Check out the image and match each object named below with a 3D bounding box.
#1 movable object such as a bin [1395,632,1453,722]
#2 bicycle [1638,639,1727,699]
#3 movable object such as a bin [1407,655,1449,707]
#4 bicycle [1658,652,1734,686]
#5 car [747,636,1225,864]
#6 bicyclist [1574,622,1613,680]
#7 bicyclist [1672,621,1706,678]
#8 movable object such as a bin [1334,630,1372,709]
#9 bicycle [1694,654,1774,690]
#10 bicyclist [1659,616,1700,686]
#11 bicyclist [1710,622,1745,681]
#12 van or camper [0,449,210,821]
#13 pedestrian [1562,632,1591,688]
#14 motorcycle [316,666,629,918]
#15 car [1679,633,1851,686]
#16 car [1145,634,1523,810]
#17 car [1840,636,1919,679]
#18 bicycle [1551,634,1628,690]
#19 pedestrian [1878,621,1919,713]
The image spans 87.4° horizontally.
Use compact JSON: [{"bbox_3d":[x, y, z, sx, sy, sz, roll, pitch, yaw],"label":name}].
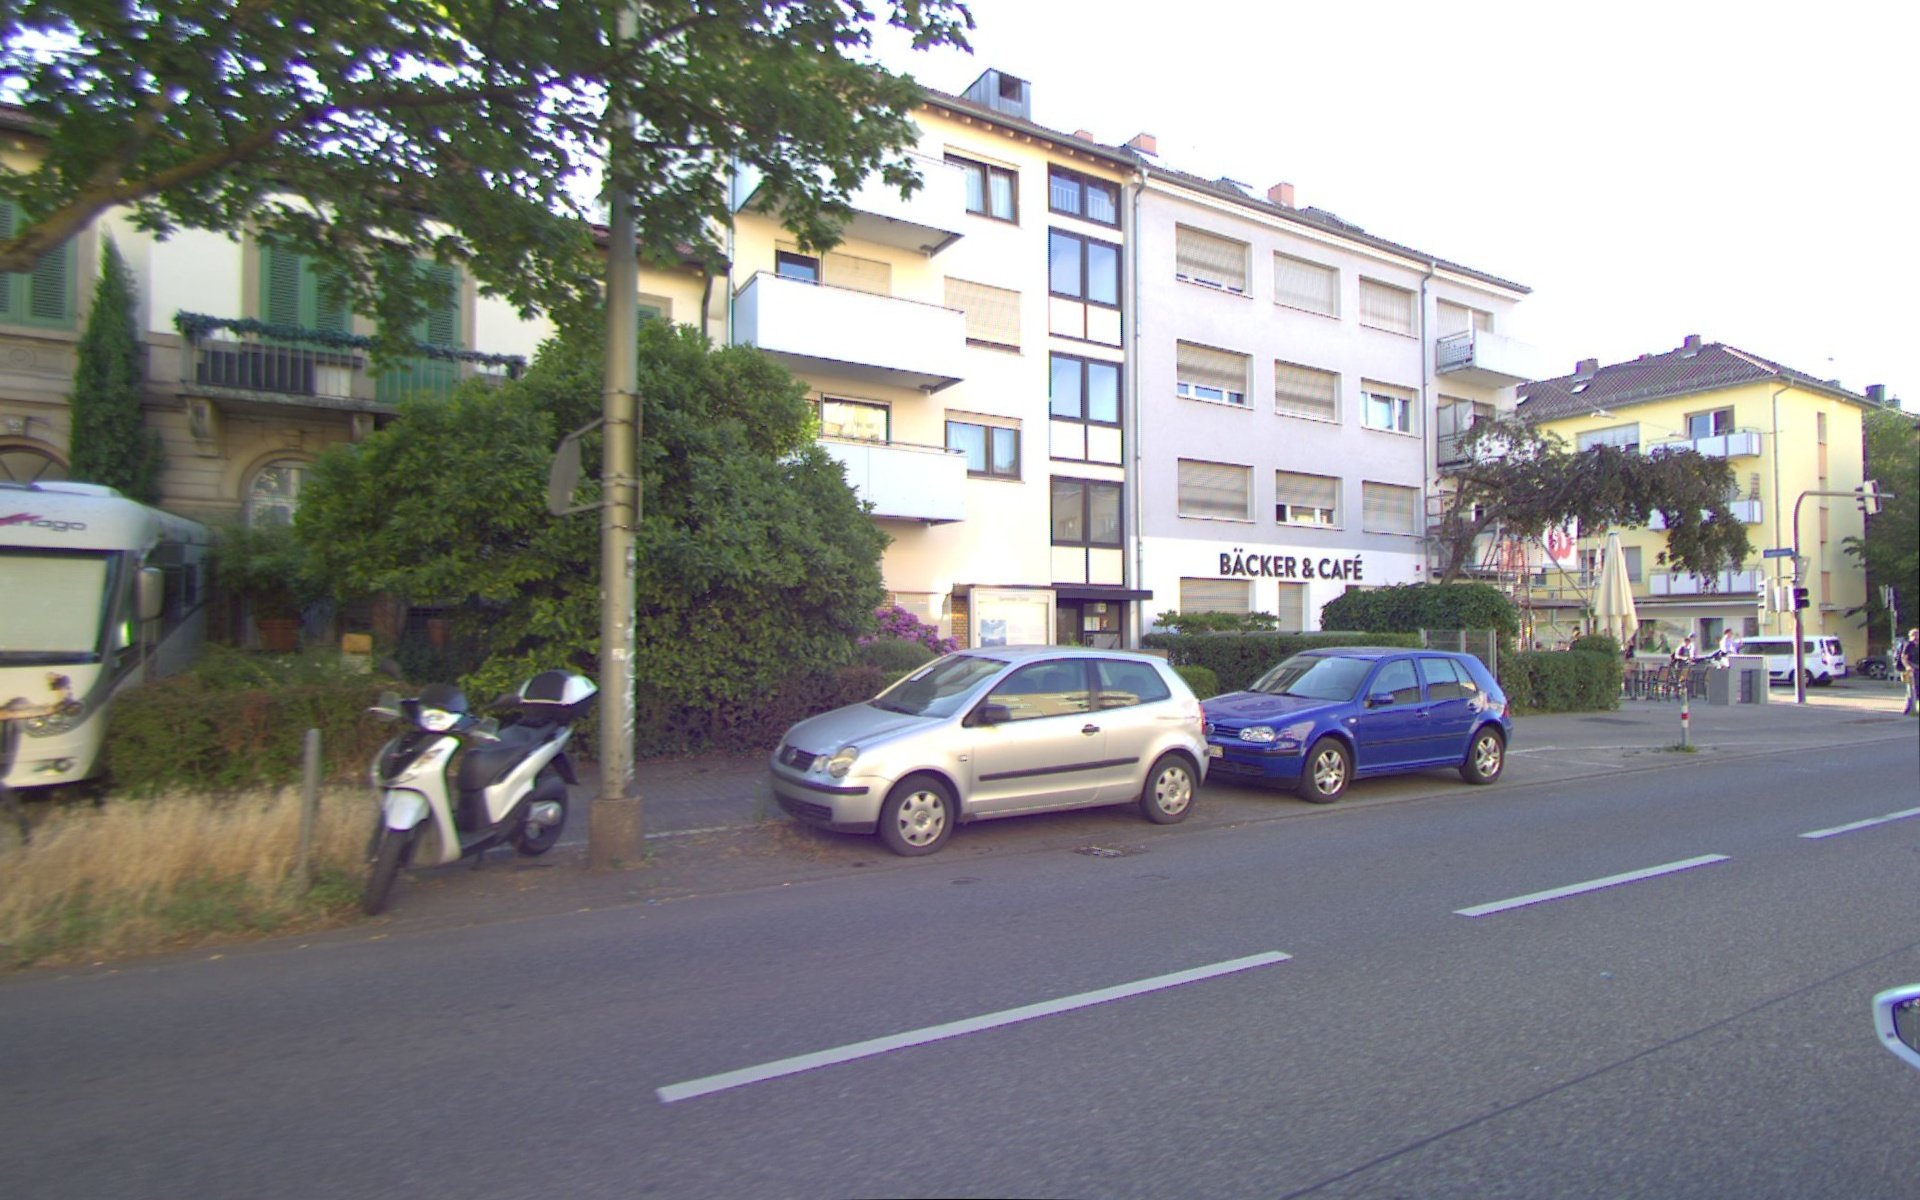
[{"bbox_3d":[8.110,1.338,17.574,0.732,1.532,0.590,1,-2,-29],"label":"movable object such as a bin"},{"bbox_3d":[21.473,2.018,29.887,0.749,1.728,2.011,1,-3,-32],"label":"bicycle"},{"bbox_3d":[9.117,1.577,19.585,0.434,0.980,0.601,1,-2,-30],"label":"movable object such as a bin"},{"bbox_3d":[24.289,2.263,33.182,0.713,1.085,1.885,2,-3,-39],"label":"bicycle"},{"bbox_3d":[0.284,1.083,8.455,3.759,1.490,1.586,1,0,-31],"label":"car"},{"bbox_3d":[20.040,1.605,31.778,0.702,1.823,0.782,1,-2,-32],"label":"bicyclist"},{"bbox_3d":[24.188,1.643,33.329,0.648,1.847,0.733,2,-3,-39],"label":"bicyclist"},{"bbox_3d":[7.320,1.285,18.707,0.569,1.446,0.390,1,-2,-32],"label":"movable object such as a bin"},{"bbox_3d":[24.454,2.254,31.748,0.713,1.085,1.885,2,-3,-39],"label":"bicycle"},{"bbox_3d":[21.473,1.520,29.995,0.835,2.040,0.721,1,-2,-33],"label":"bicyclist"},{"bbox_3d":[24.349,1.629,31.866,0.648,1.847,0.733,2,-3,-39],"label":"bicyclist"},{"bbox_3d":[-9.513,0.229,10.167,2.325,2.809,6.762,1,0,-31],"label":"van or camper"},{"bbox_3d":[18.948,1.829,30.882,0.638,1.697,0.573,2,-3,-40],"label":"pedestrian"},{"bbox_3d":[-2.932,1.080,6.365,0.751,1.281,2.056,0,-3,8],"label":"motorcycle"},{"bbox_3d":[29.603,2.163,37.117,1.840,1.835,4.612,1,-3,-30],"label":"car"},{"bbox_3d":[4.062,1.159,10.735,4.026,1.537,1.640,1,-1,-31],"label":"car"},{"bbox_3d":[36.212,2.165,37.573,1.840,1.555,4.612,1,-2,-30],"label":"car"},{"bbox_3d":[19.965,1.940,31.898,0.749,1.728,1.909,1,-3,-32],"label":"bicycle"},{"bbox_3d":[21.218,1.492,22.458,0.811,2.013,0.776,1,-3,-30],"label":"pedestrian"}]
